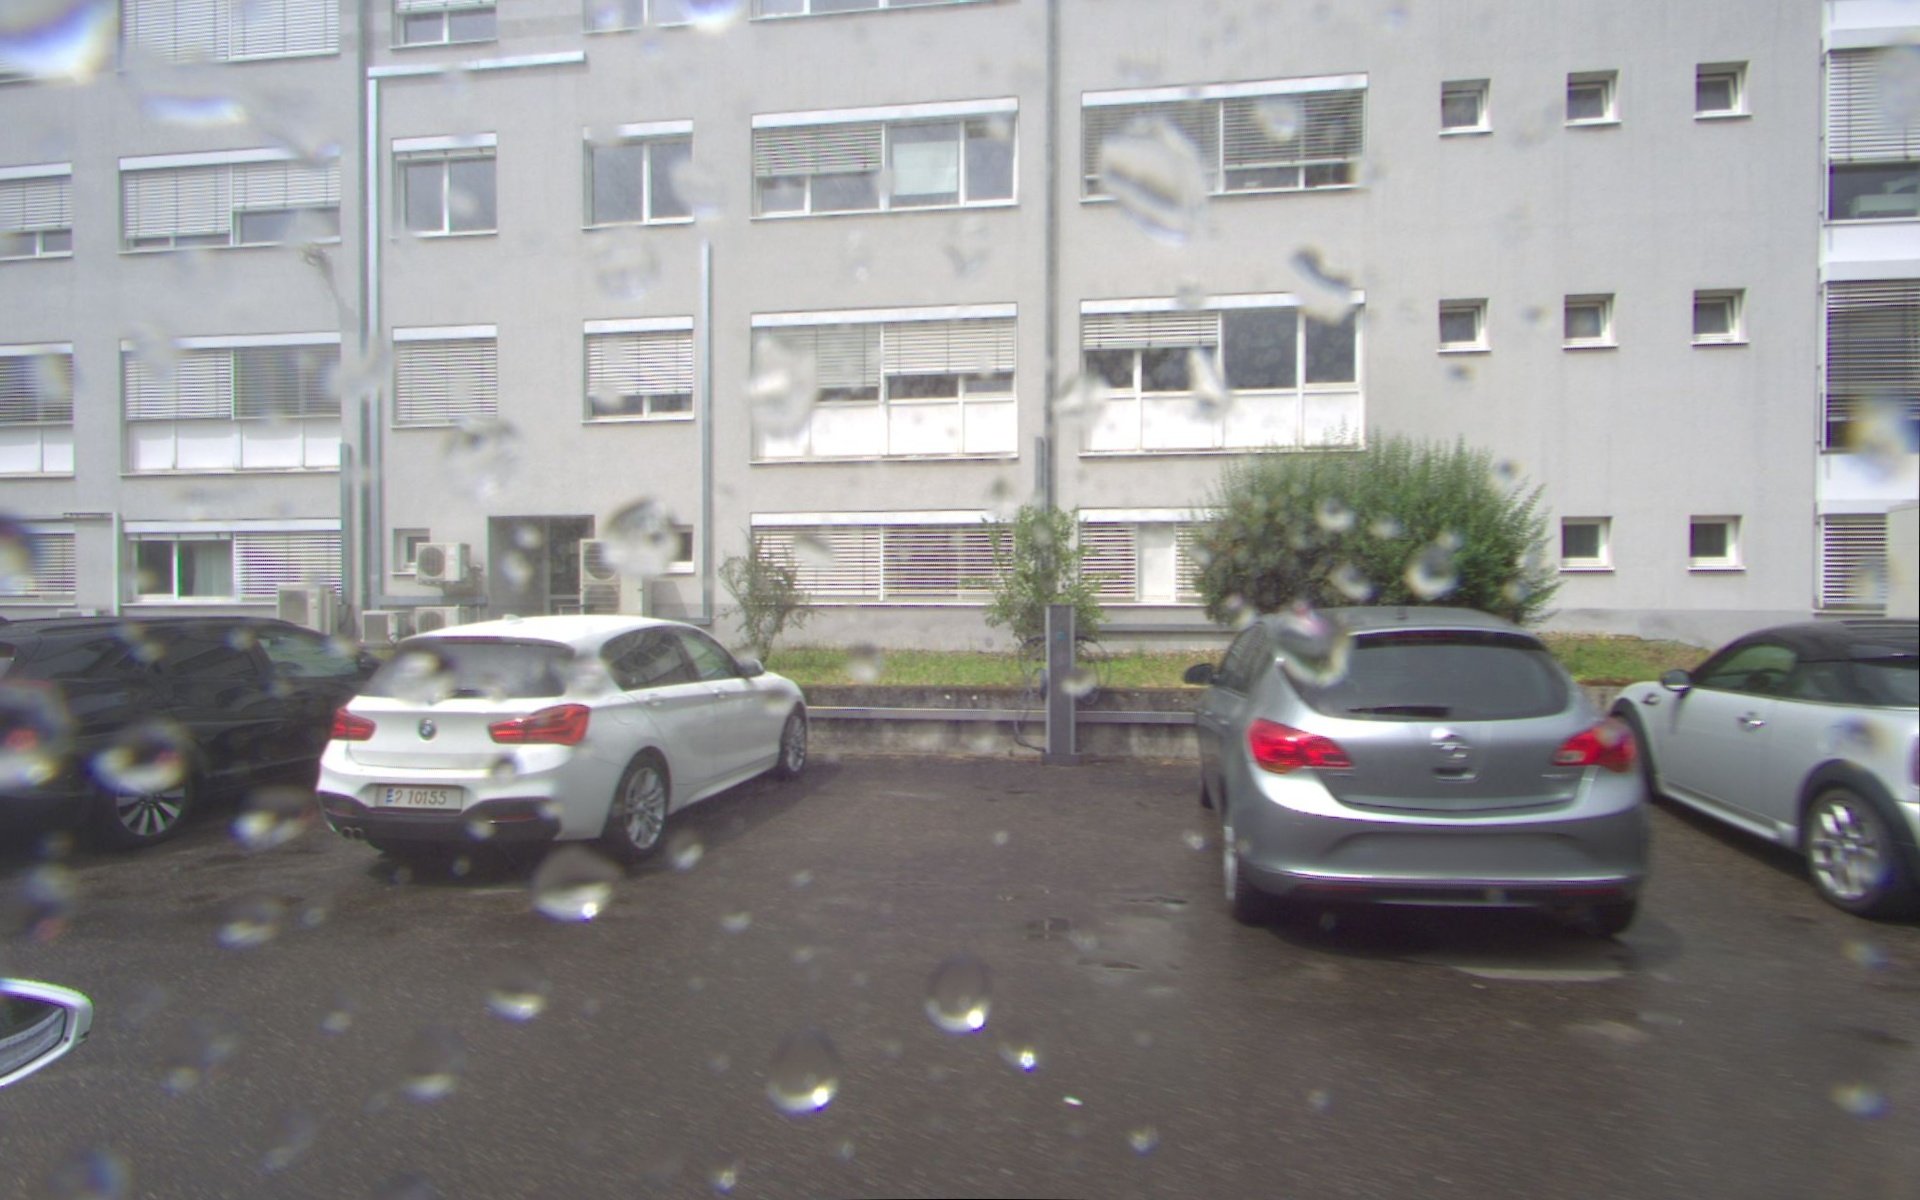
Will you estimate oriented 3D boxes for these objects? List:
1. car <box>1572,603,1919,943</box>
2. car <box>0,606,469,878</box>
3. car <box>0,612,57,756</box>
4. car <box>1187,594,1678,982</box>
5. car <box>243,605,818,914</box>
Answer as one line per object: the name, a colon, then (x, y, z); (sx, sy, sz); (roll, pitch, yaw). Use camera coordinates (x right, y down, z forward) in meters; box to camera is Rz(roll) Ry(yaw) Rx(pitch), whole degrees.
car: (5.438, 0.762, 6.074); (1.757, 1.373, 3.994); (0, 2, 13)
car: (-5.854, 0.781, 7.504); (1.902, 1.420, 4.182); (0, 0, 7)
car: (-10.349, 0.802, 8.110); (1.824, 1.366, 4.366); (1, 0, 8)
car: (2.285, 0.722, 5.960); (1.636, 1.477, 4.090); (-1, 0, 10)
car: (-2.512, 0.799, 7.119); (1.798, 1.475, 4.108); (0, 1, 10)
